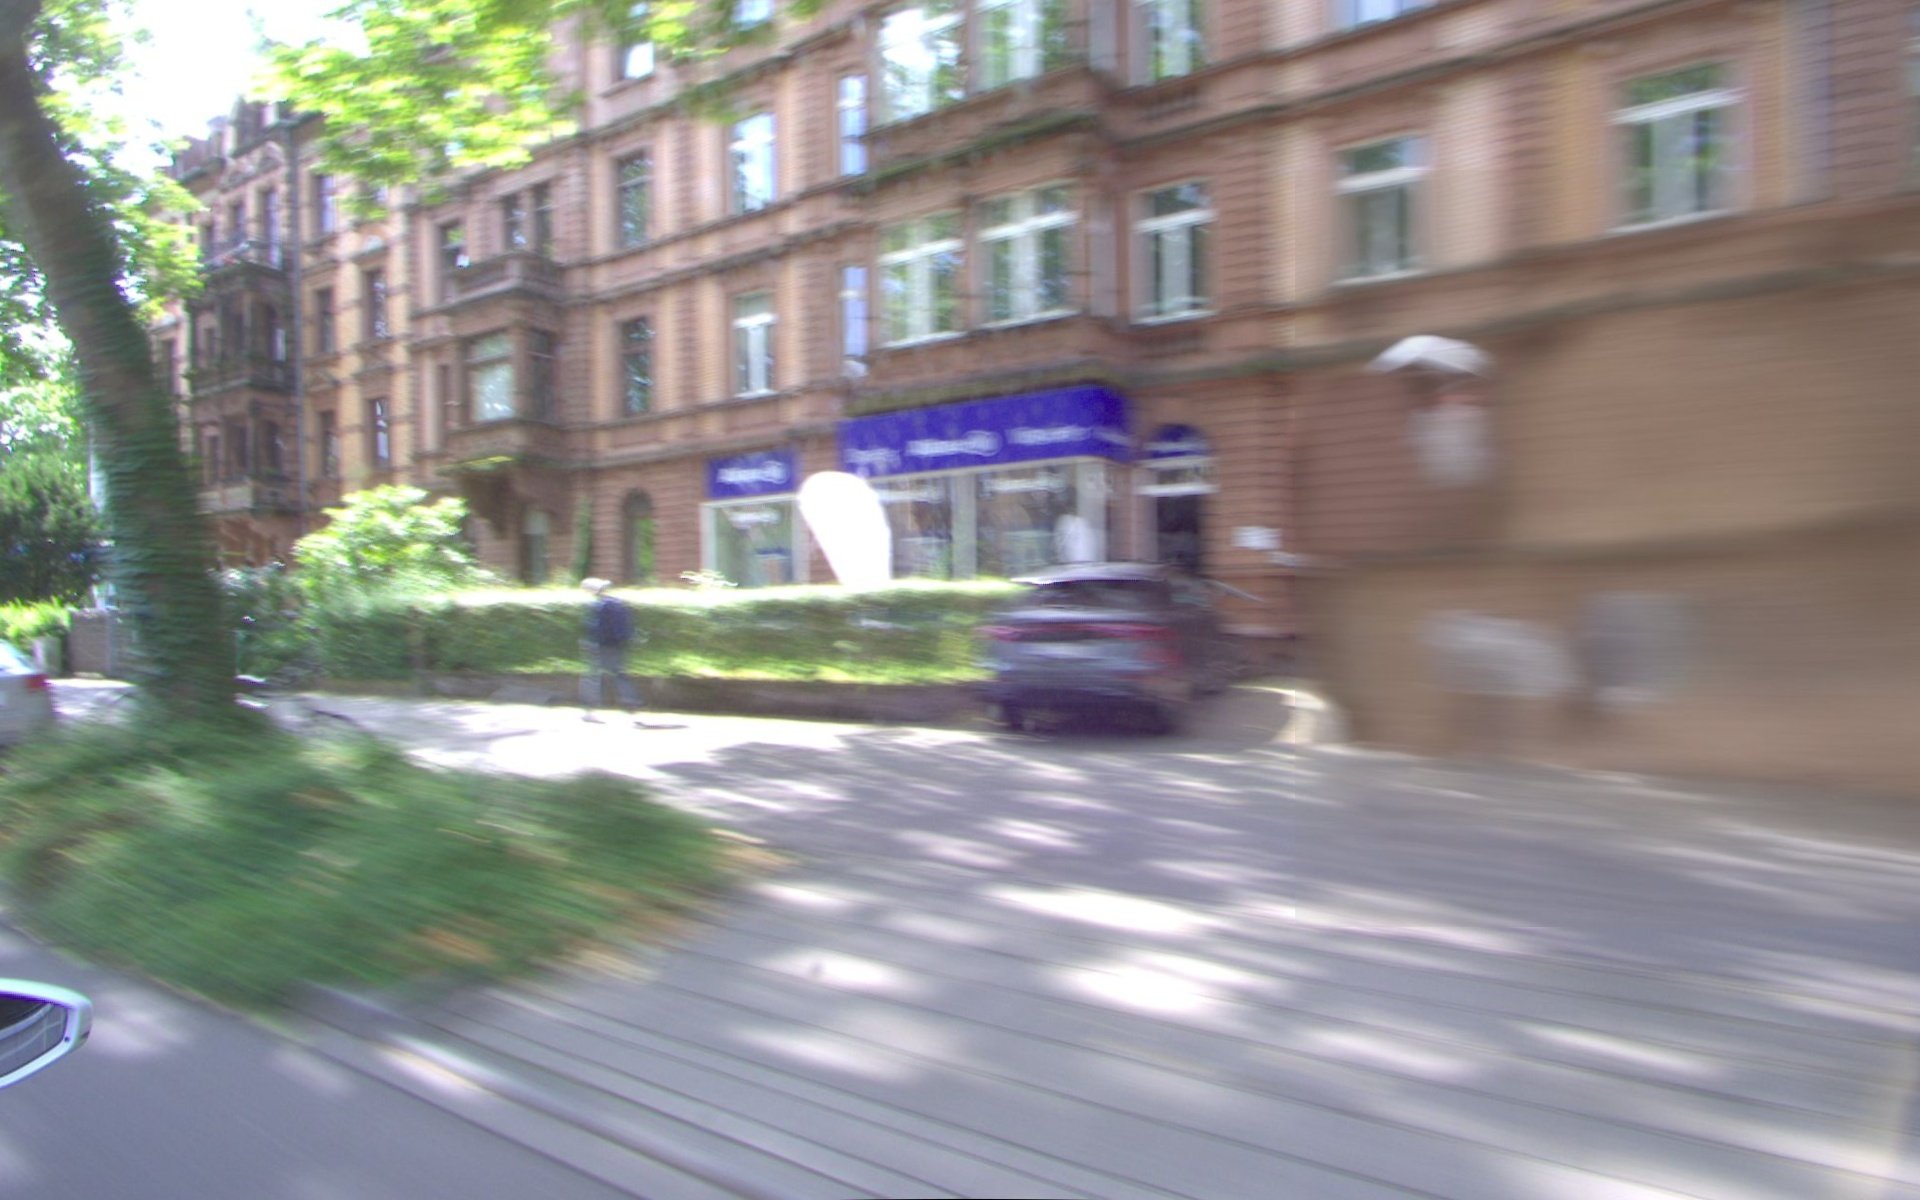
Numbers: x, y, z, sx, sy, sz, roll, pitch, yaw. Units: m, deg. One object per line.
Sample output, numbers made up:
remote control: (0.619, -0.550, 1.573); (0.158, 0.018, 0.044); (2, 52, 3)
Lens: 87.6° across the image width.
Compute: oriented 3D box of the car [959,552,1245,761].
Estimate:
car: (1.861, 0.407, 11.301); (1.972, 1.807, 4.718); (-1, 3, 24)

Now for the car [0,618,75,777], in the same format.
car: (-10.645, 0.938, 10.003); (3.803, 1.463, 1.674); (-1, 0, 32)

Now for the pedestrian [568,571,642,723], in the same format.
pedestrian: (-4.350, 0.565, 12.279); (0.621, 1.810, 0.563); (-1, 1, 32)

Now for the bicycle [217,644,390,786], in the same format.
bicycle: (-5.270, 0.882, 8.036); (1.303, 1.033, 0.579); (-1, 0, 27)

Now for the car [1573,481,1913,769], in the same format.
car: (6.785, 0.074, 9.200); (1.955, 1.966, 4.385); (0, 3, 32)

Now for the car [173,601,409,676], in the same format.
car: (-15.762, 0.849, 23.826); (1.914, 1.489, 4.224); (-1, 1, 32)
